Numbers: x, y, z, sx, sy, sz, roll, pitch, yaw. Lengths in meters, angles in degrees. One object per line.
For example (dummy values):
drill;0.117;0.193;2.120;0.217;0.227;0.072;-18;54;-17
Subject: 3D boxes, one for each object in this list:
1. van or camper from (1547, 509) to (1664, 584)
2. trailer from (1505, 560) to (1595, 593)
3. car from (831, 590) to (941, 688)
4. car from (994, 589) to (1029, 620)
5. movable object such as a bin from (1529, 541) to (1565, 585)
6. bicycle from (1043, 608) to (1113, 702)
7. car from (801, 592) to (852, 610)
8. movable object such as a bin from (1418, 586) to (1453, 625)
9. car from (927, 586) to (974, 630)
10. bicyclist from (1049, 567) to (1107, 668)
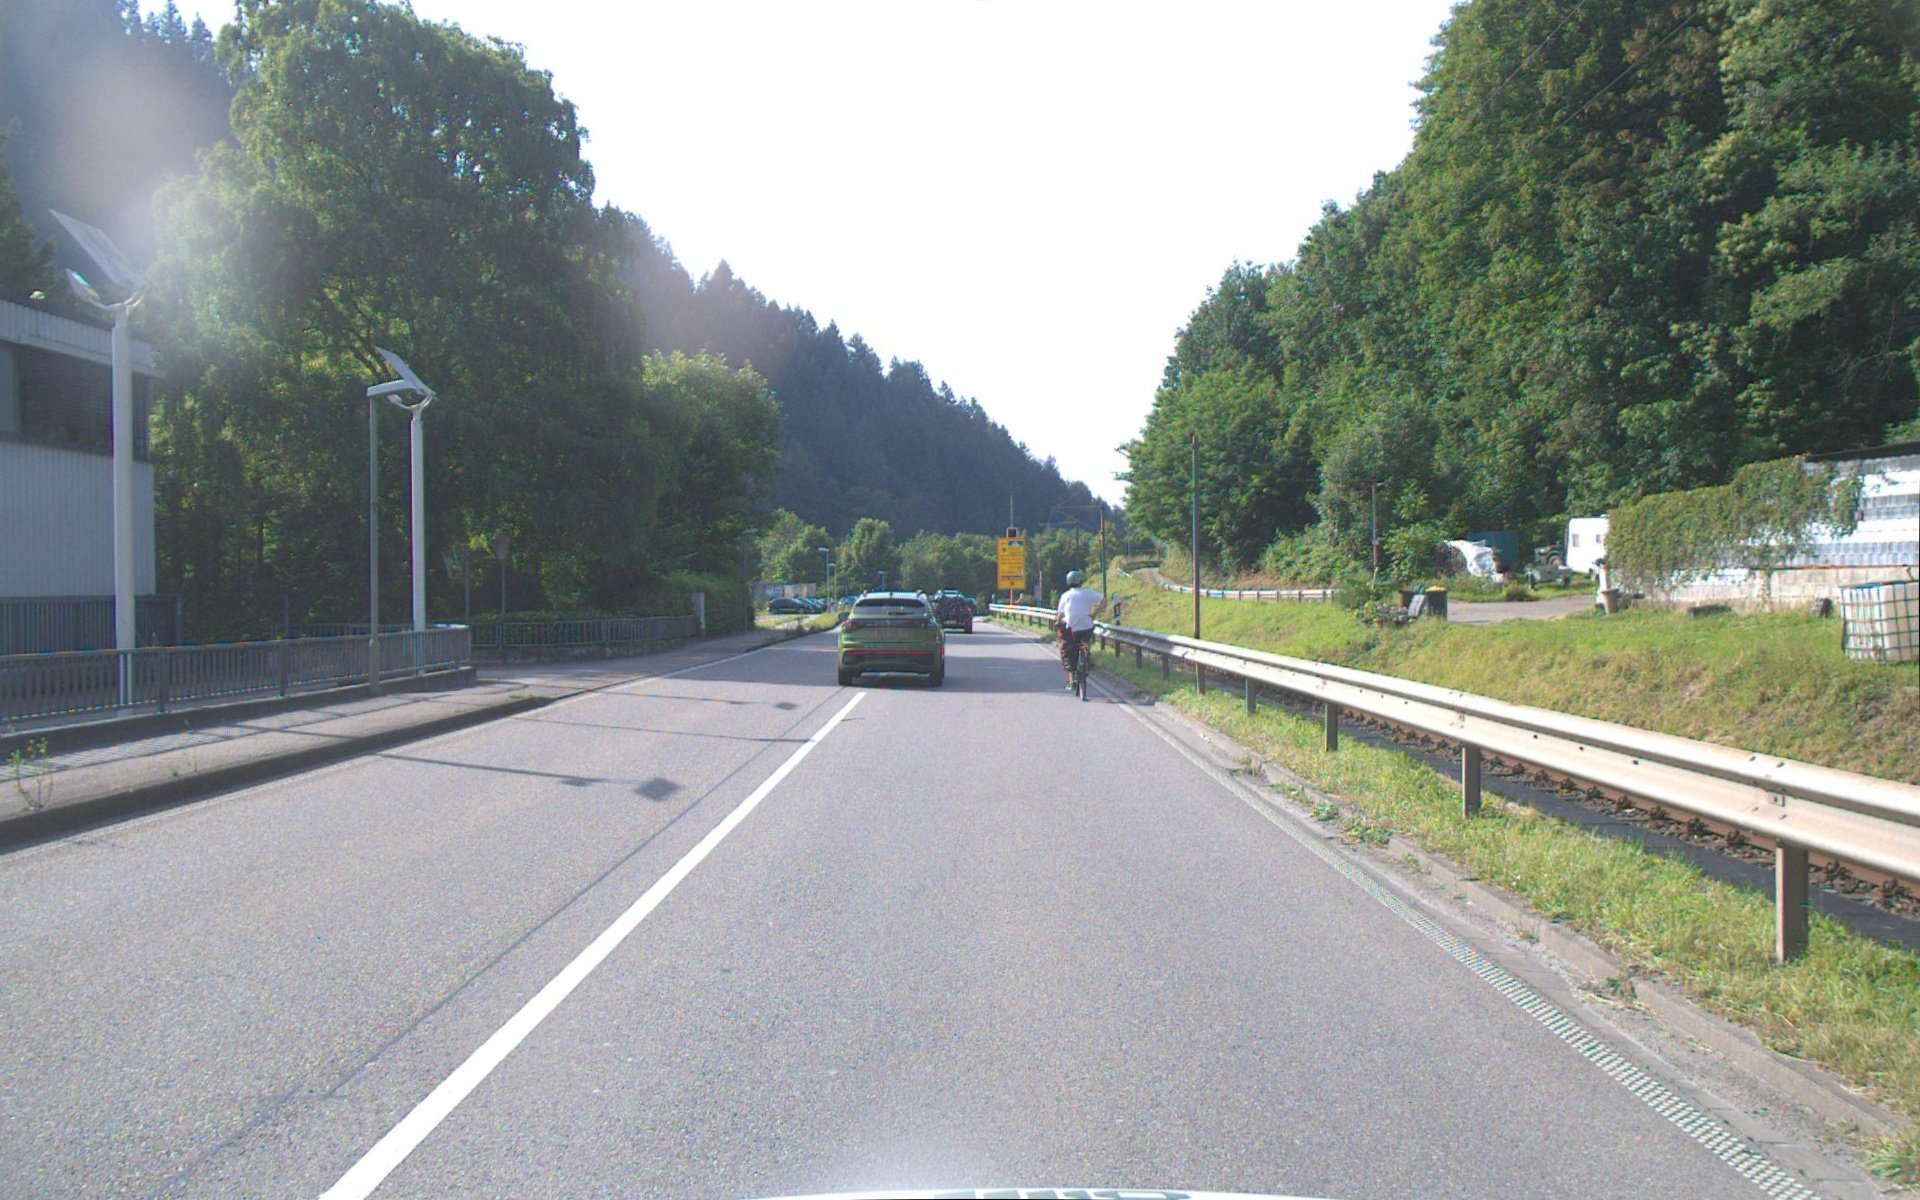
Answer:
van or camper;25.073;-2.018;64.492;2.147;2.688;5.771;1;0;-2
trailer;22.539;-0.880;63.306;2.025;1.213;3.713;1;0;-2
car;-1.182;0.598;27.898;1.704;1.534;4.000;0;0;-1
car;2.793;0.229;90.471;1.704;1.630;3.999;0;0;-1
movable object such as a bin;24.803;-1.557;69.882;0.848;1.833;1.797;0;0;-2
bicycle;1.691;0.765;23.971;0.795;1.272;2.122;0;0;-2
car;-11.220;0.104;139.384;4.171;1.458;1.557;0;0;1
movable object such as a bin;14.050;0.160;48.924;0.837;1.126;0.935;0;0;6
car;-0.377;0.279;62.729;1.704;1.630;4.000;0;0;-1
bicyclist;1.695;0.251;23.870;0.766;1.436;0.675;0;0;-2
